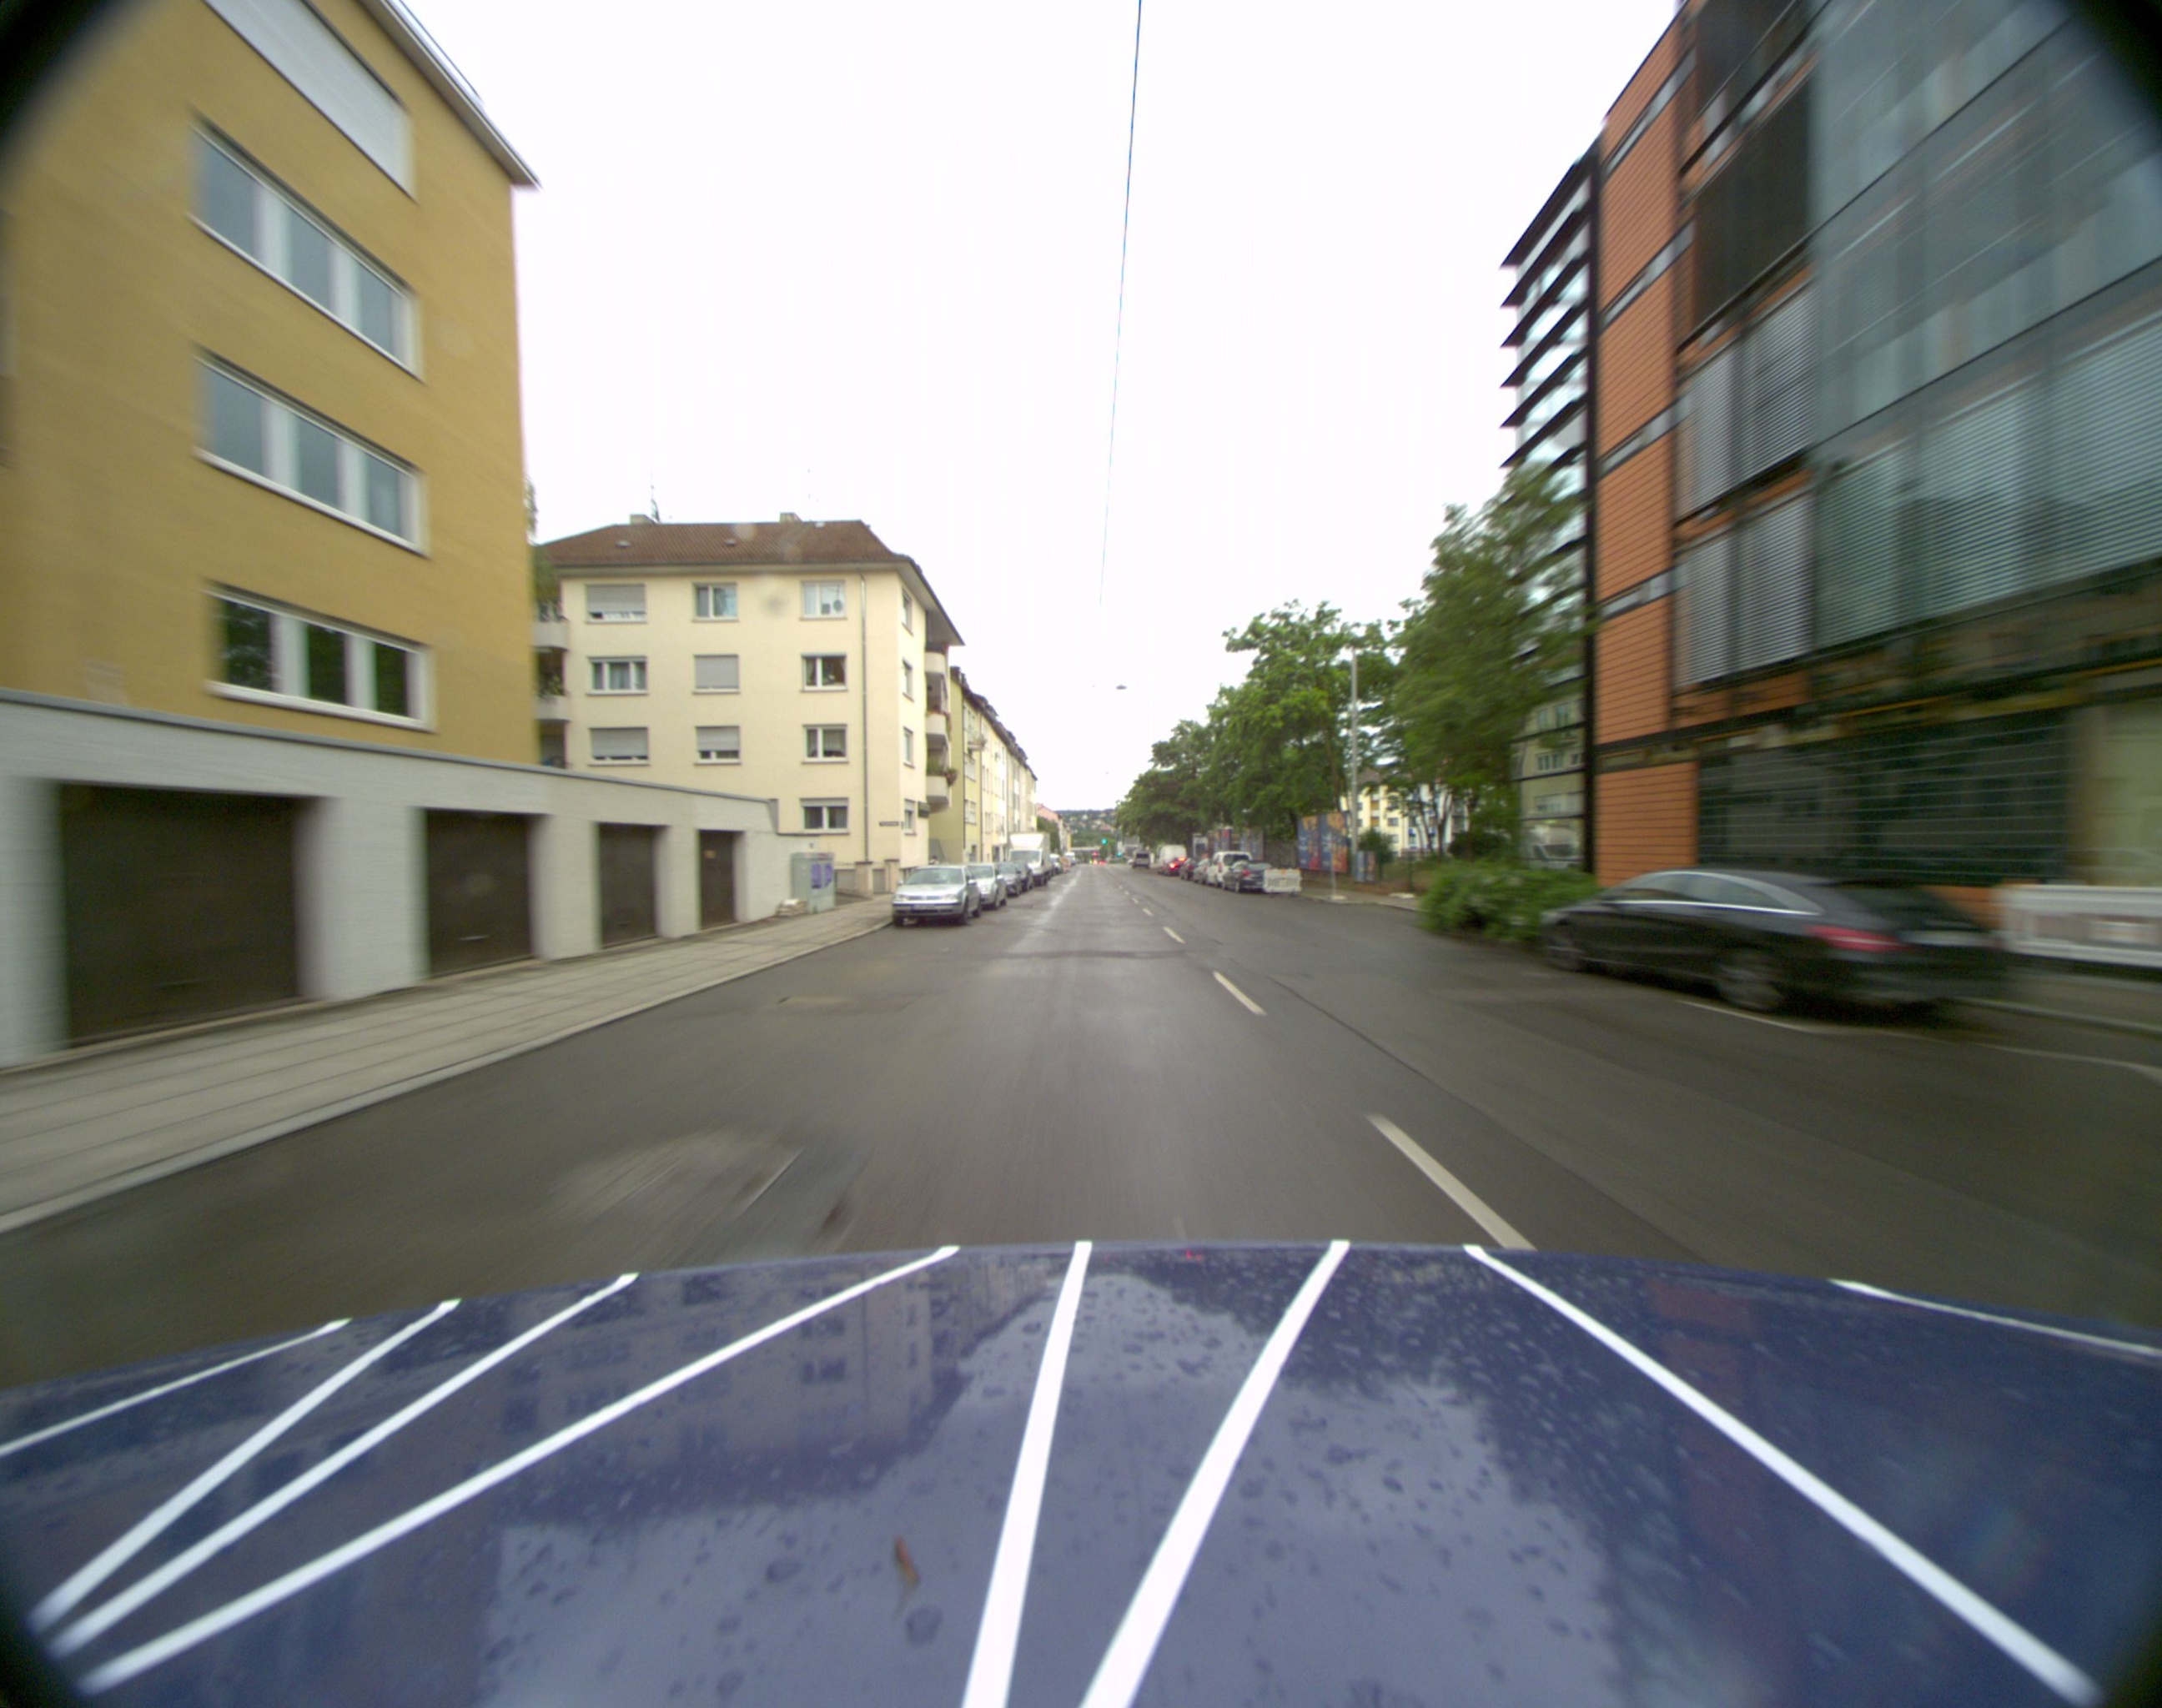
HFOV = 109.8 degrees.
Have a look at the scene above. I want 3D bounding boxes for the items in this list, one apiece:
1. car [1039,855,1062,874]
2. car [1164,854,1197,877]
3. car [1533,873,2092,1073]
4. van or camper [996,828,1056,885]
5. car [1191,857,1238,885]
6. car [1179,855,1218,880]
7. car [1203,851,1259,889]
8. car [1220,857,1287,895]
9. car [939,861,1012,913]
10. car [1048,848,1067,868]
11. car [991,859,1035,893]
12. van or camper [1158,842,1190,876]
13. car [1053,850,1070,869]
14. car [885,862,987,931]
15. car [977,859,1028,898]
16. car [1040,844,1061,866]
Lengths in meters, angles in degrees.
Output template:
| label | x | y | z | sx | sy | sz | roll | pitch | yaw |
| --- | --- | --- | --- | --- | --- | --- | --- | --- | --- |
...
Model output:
| label | x | y | z | sx | sy | sz | roll | pitch | yaw |
| --- | --- | --- | --- | --- | --- | --- | --- | --- | --- |
| car | -2.583 | 0.867 | 65.108 | 1.740 | 1.423 | 3.504 | -1 | 1 | 0 |
| car | 7.612 | 0.868 | 58.249 | 1.998 | 1.566 | 3.999 | -2 | 2 | 0 |
| car | 7.146 | 1.007 | 8.234 | 1.727 | 1.455 | 4.329 | 0 | 0 | -3 |
| van or camper | -3.098 | 0.013 | 44.651 | 2.753 | 3.041 | 7.029 | -1 | 2 | 2 |
| car | 7.435 | 0.938 | 42.633 | 1.881 | 1.345 | 3.828 | -1 | 2 | -2 |
| car | 7.532 | 0.841 | 49.036 | 1.881 | 1.456 | 3.516 | -1 | 2 | -2 |
| car | 7.407 | 0.753 | 37.851 | 1.881 | 1.700 | 3.998 | -1 | 2 | -2 |
| car | 7.337 | 0.915 | 32.717 | 1.881 | 1.390 | 3.998 | -1 | 2 | -2 |
| car | -3.285 | 0.988 | 24.353 | 1.740 | 1.370 | 3.969 | -1 | 2 | 0 |
| car | -2.420 | 0.398 | 78.759 | 1.740 | 1.997 | 4.195 | -1 | 1 | 0 |
| car | -3.264 | 1.036 | 36.844 | 1.740 | 1.423 | 3.504 | -1 | 1 | 0 |
| van or camper | 7.838 | 0.351 | 64.333 | 2.143 | 2.588 | 5.549 | -2 | 2 | 2 |
| car | -2.159 | 0.642 | 85.774 | 1.740 | 1.997 | 4.195 | -1 | 1 | 0 |
| car | -3.491 | 0.981 | 18.979 | 1.740 | 1.370 | 3.837 | -1 | 2 | 0 |
| car | -3.264 | 0.996 | 32.144 | 1.740 | 1.423 | 3.504 | -1 | 1 | 0 |
| car | -2.909 | 0.055 | 72.581 | 1.740 | 1.997 | 4.195 | -1 | 1 | 0 |
